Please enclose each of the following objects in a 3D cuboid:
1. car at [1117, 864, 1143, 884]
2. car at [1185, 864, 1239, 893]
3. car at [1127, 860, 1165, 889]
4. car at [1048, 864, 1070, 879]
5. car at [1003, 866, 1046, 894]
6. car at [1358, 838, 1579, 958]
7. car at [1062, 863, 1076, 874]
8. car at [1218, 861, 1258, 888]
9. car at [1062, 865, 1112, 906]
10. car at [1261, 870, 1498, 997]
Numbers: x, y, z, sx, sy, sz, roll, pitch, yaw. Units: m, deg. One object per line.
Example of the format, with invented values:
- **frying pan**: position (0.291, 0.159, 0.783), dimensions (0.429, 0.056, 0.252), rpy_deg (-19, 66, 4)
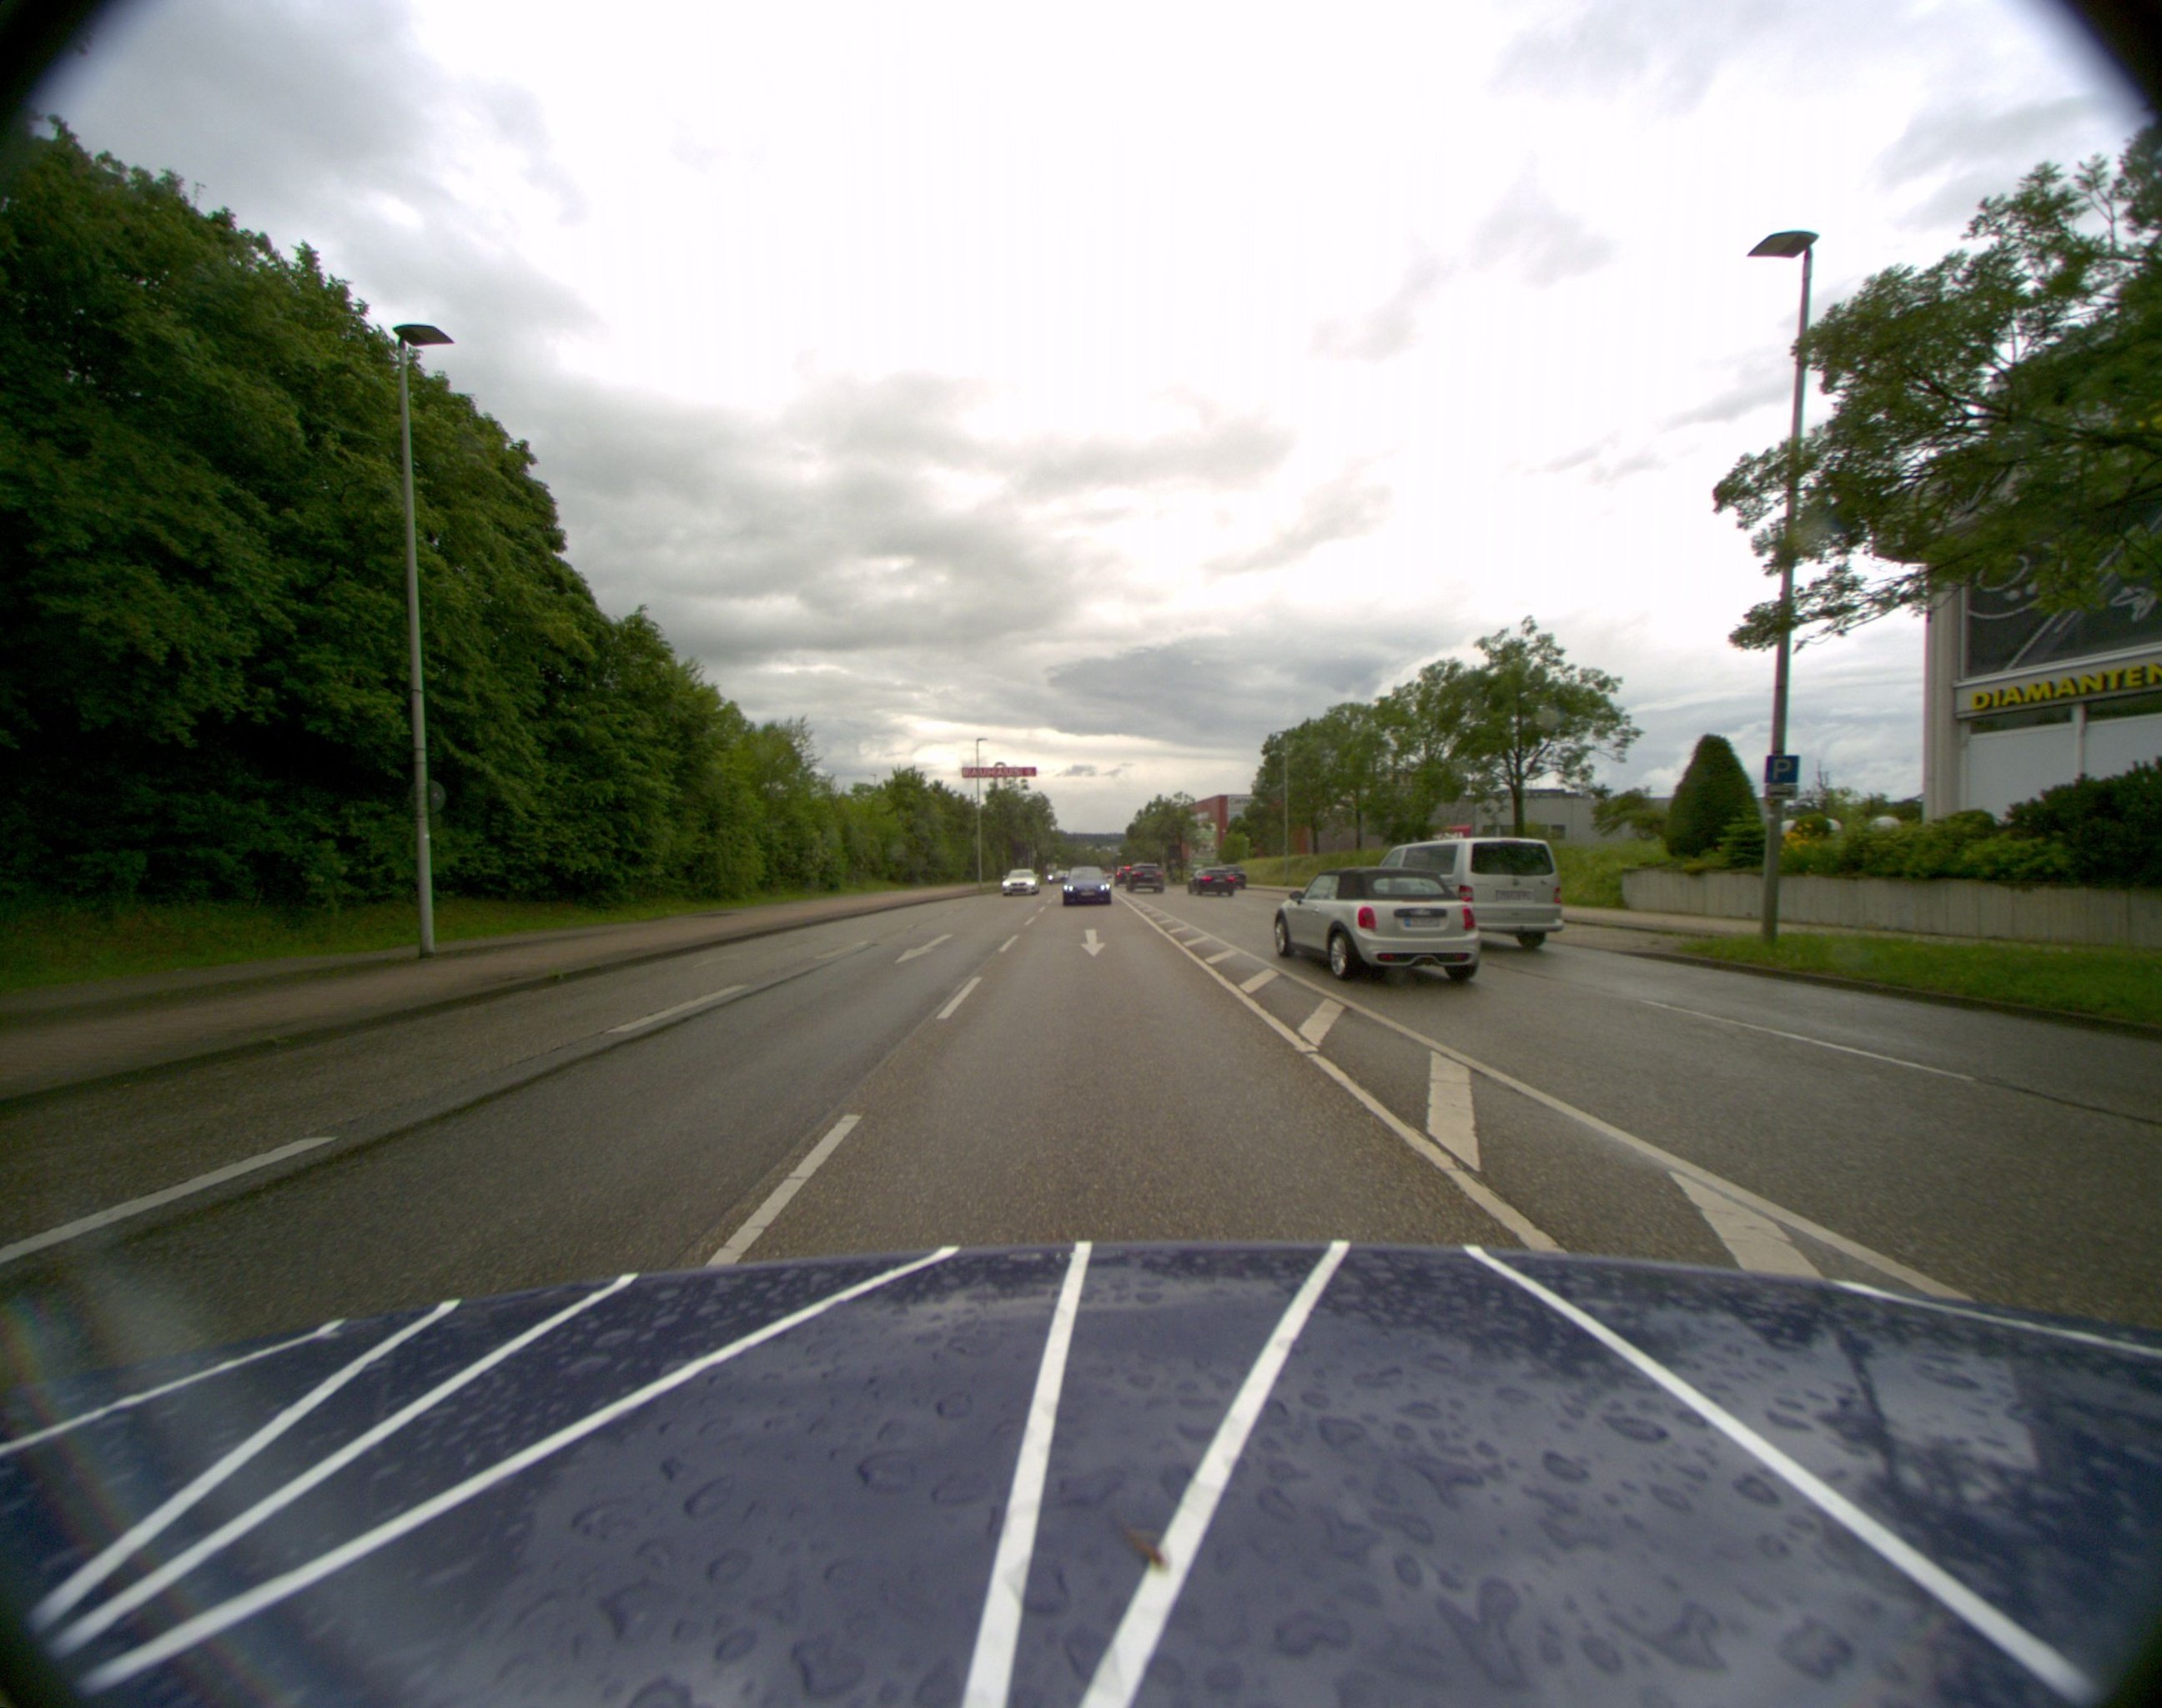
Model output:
- **car**: position (3.989, 1.641, 62.367), dimensions (1.800, 1.574, 4.198), rpy_deg (0, -1, -1)
- **car**: position (6.730, 1.253, 39.460), dimensions (1.798, 1.393, 4.299), rpy_deg (0, 0, -4)
- **car**: position (3.689, 1.140, 43.652), dimensions (1.827, 1.598, 4.284), rpy_deg (0, 0, 0)
- **car**: position (-2.457, 2.020, 87.331), dimensions (2.113, 1.609, 4.842), rpy_deg (-1, -1, 2)
- **car**: position (-3.180, 1.453, 43.581), dimensions (1.863, 1.473, 4.002), rpy_deg (-1, -1, 5)
- **car**: position (7.334, 0.741, 15.071), dimensions (1.800, 1.971, 4.898), rpy_deg (1, 0, -1)
- **car**: position (-1.720, 2.049, 108.219), dimensions (1.853, 1.565, 3.999), rpy_deg (-2, 0, -1)
- **car**: position (10.528, 1.348, 51.240), dimensions (1.730, 1.658, 4.488), rpy_deg (-2, -1, 0)
- **car**: position (0.319, 1.192, 30.440), dimensions (1.827, 1.473, 4.841), rpy_deg (-2, -1, 2)
- **car**: position (3.949, 0.967, 10.849), dimensions (1.671, 1.390, 3.999), rpy_deg (1, 0, -2)
